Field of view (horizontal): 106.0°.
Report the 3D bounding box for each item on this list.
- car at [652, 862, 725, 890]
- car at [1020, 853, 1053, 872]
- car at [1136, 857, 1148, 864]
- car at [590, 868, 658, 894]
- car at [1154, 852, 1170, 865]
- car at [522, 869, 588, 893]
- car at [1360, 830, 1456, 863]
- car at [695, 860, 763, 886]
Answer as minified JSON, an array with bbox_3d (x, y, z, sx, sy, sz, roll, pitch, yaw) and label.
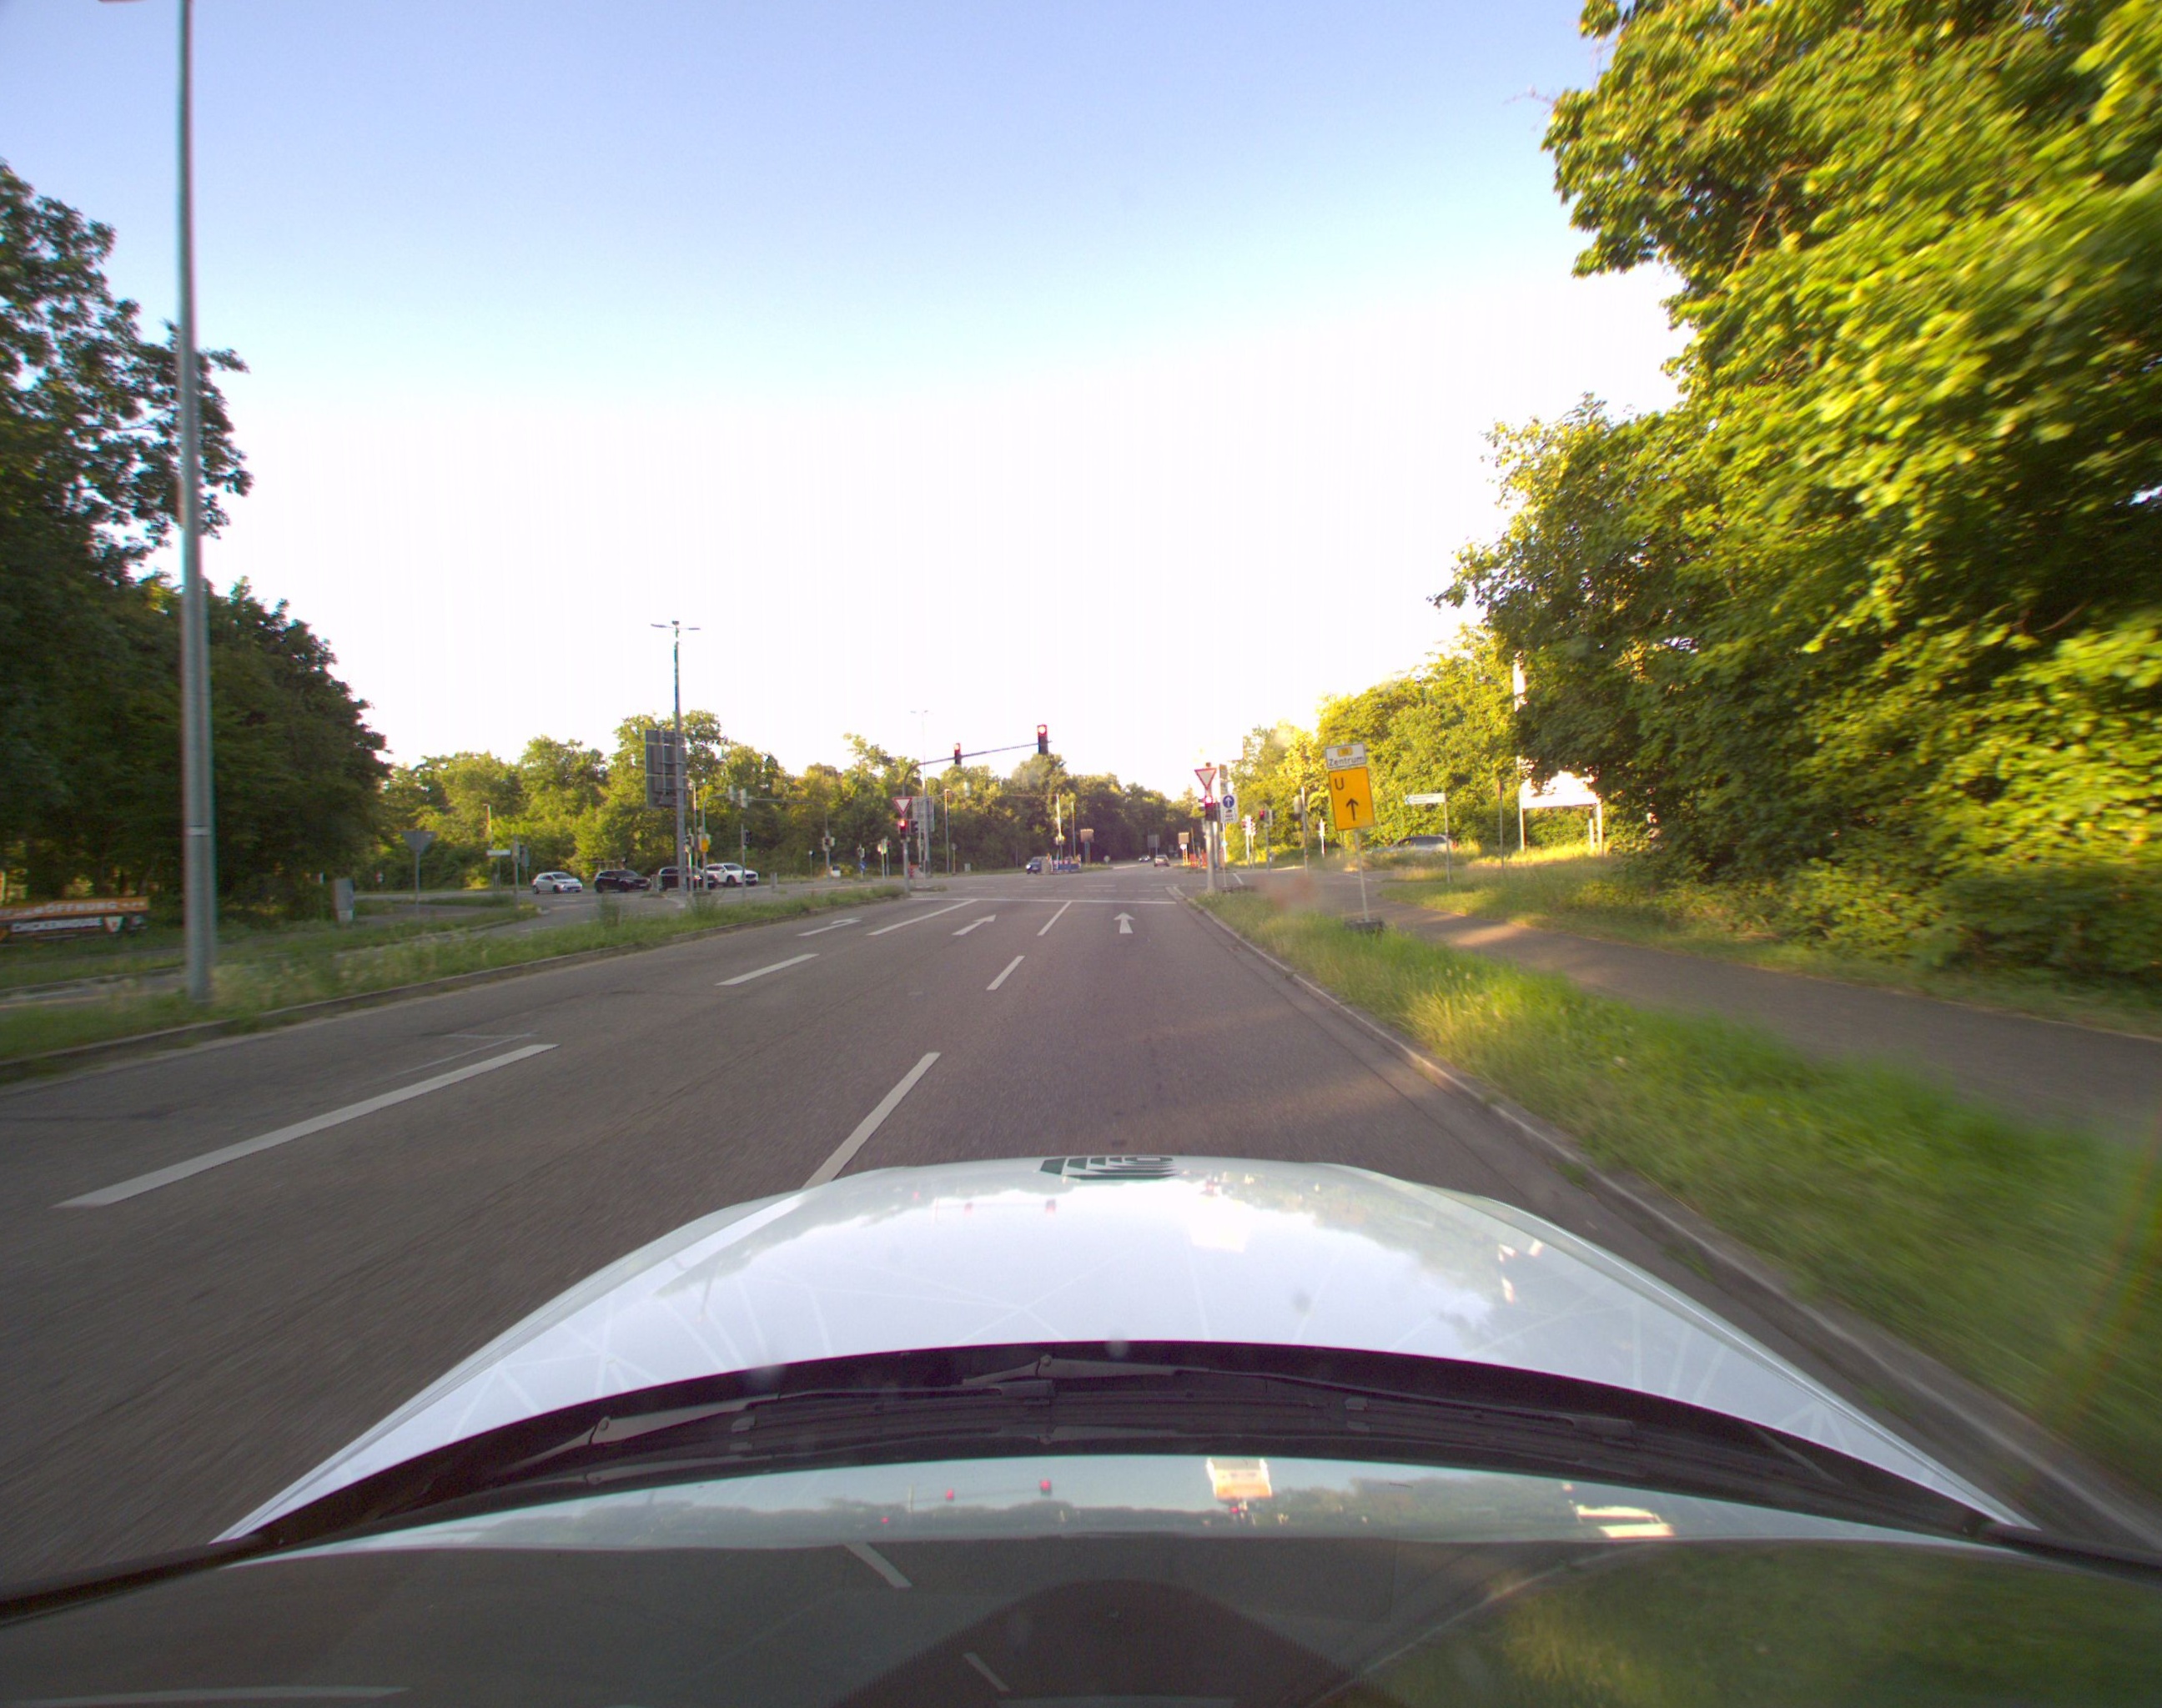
[{"bbox_3d":[-25.451,1.448,52.770,4.204,1.640,2.012,-2,0,25],"label":"car"},{"bbox_3d":[-3.770,0.719,70.347,1.983,1.529,4.688,-2,0,7],"label":"car"},{"bbox_3d":[13.717,1.362,182.561,1.978,1.420,4.017,-2,0,16],"label":"car"},{"bbox_3d":[-31.688,1.902,56.479,4.204,1.640,2.012,-2,0,25],"label":"car"},{"bbox_3d":[10.623,0.559,106.419,1.983,1.618,4.008,-2,0,7],"label":"car"},{"bbox_3d":[-38.886,1.985,60.186,4.206,1.640,2.011,-2,0,23],"label":"car"},{"bbox_3d":[18.085,-0.419,45.077,4.771,1.598,2.012,-2,0,25],"label":"car"},{"bbox_3d":[-24.518,1.354,56.681,4.204,1.640,2.012,-2,0,25],"label":"car"}]
